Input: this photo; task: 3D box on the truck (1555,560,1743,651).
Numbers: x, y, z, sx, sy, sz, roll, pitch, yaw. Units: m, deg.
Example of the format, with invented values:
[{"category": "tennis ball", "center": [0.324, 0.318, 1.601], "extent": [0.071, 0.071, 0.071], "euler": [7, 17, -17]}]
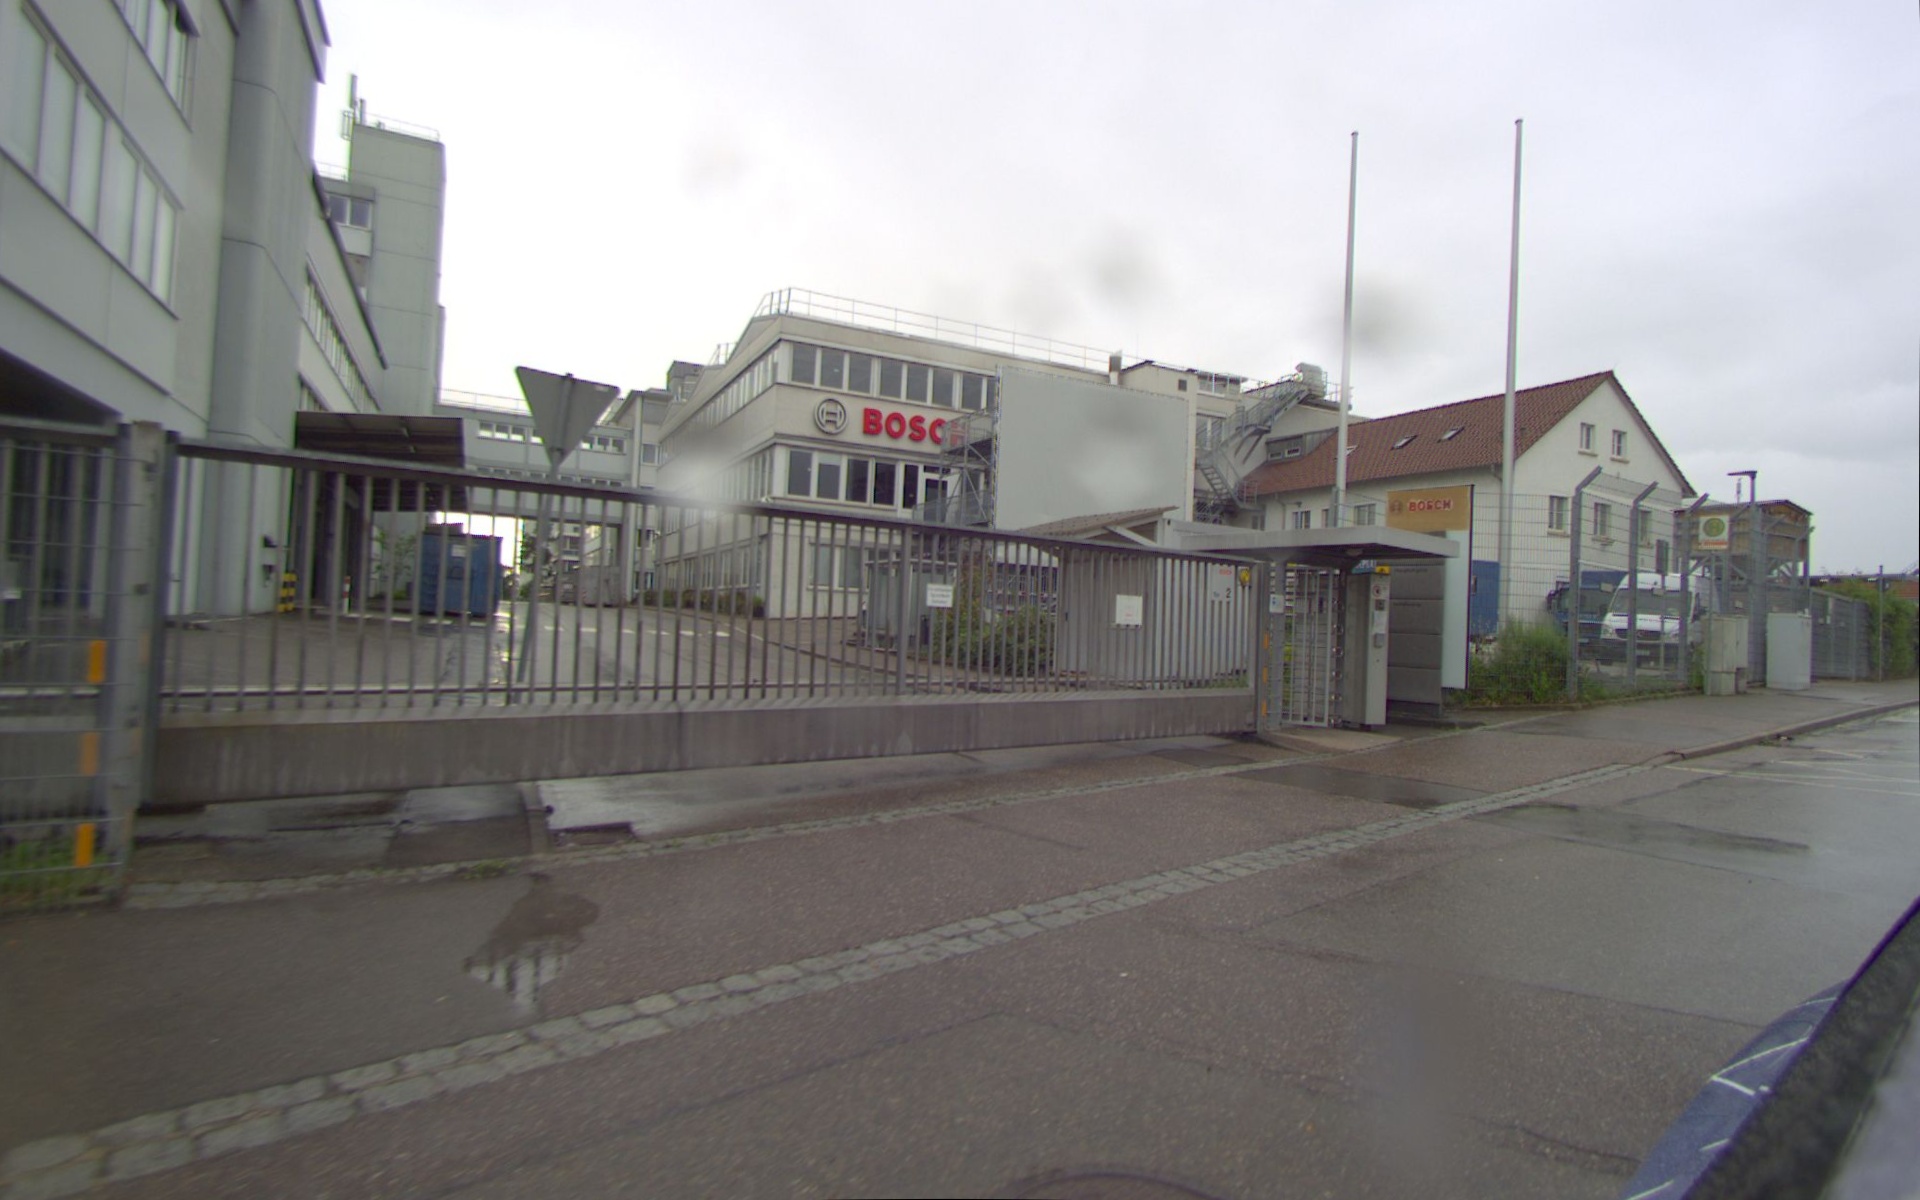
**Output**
[{"category": "truck", "center": [24.412, 0.220, 35.791], "extent": [6.984, 3.006, 2.331], "euler": [1, 0, -26]}]

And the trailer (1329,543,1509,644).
[{"category": "trailer", "center": [14.261, -0.165, 31.518], "extent": [4.534, 2.929, 2.640], "euler": [0, -2, -22]}]

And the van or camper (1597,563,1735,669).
[{"category": "van or camper", "center": [18.995, 0.393, 27.108], "extent": [2.085, 2.527, 5.711], "euler": [2, 1, 44]}]
